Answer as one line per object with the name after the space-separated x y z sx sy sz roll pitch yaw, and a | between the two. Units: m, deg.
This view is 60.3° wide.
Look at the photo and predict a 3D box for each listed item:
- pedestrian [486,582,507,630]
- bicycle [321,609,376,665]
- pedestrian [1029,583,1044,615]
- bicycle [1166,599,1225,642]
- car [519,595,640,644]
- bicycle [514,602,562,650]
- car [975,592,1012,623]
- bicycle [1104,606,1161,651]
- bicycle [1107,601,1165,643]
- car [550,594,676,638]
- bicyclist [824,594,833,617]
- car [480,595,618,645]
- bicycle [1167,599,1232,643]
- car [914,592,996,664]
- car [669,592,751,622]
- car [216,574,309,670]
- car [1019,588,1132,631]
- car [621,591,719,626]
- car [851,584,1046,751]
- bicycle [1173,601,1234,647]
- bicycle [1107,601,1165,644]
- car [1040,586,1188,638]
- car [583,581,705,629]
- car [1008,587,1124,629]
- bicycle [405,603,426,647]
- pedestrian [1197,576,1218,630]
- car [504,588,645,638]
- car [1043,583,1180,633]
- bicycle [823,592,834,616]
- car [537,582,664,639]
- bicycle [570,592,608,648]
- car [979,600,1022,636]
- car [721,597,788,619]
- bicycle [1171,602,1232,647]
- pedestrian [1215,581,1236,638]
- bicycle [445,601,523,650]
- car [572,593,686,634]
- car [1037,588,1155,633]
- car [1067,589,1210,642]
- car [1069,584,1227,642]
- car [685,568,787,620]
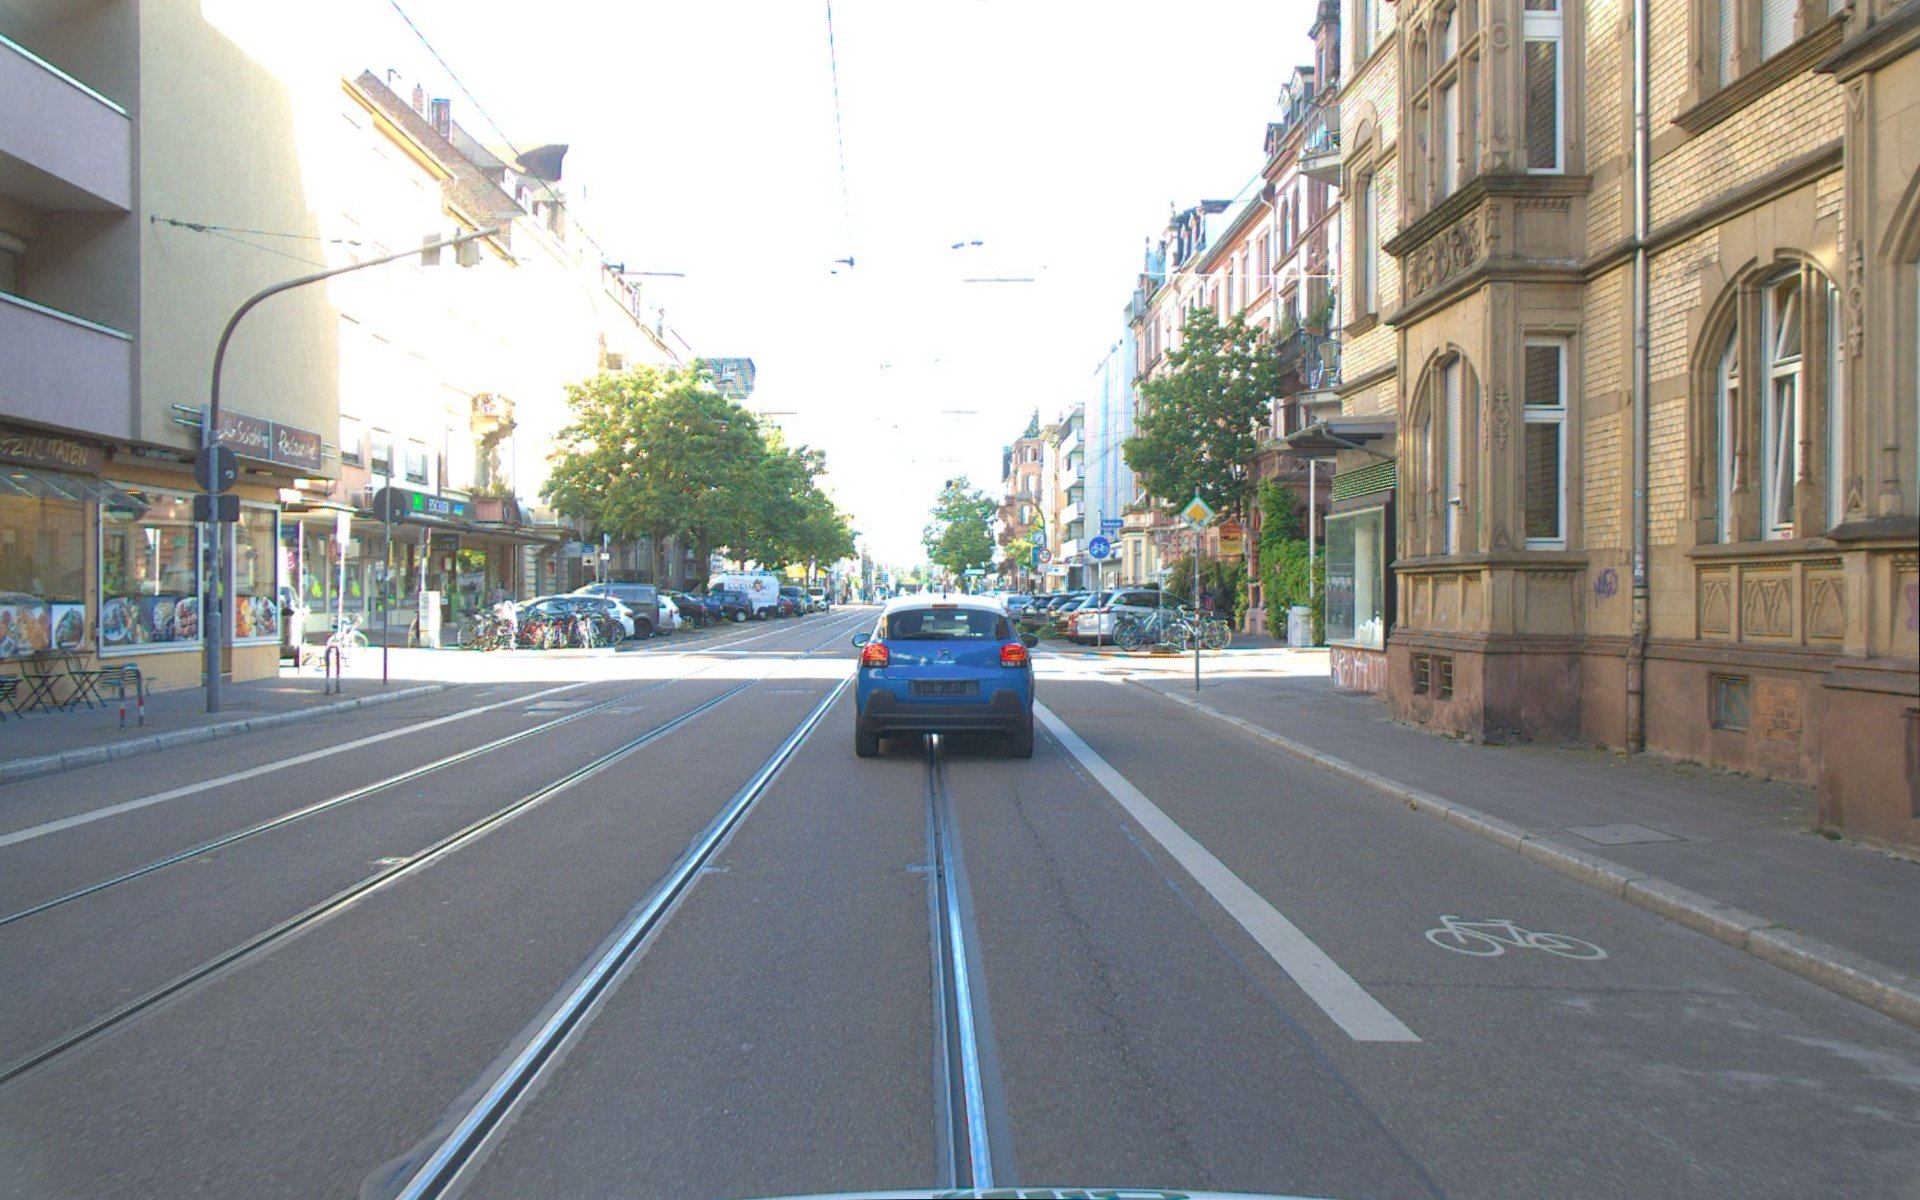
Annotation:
-16.443 0.217 58.711 0.558 1.681 0.641 1 0 -1 | pedestrian
-14.037 0.836 38.002 0.668 1.128 2.432 0 2 -8 | bicycle
4.044 -0.055 87.474 0.697 1.635 0.654 1 0 -2 | pedestrian
6.350 0.554 44.665 1.523 1.147 0.552 1 0 5 | bicycle
-12.030 0.590 52.253 3.424 1.499 1.632 0 1 -31 | car
-11.024 0.656 43.163 0.675 1.143 1.867 -1 3 -32 | bicycle
1.815 0.398 90.306 1.835 1.624 3.999 1 0 -1 | car
4.454 0.732 42.795 1.372 1.147 0.550 1 0 -11 | bicycle
4.740 0.586 44.526 1.523 1.098 0.307 1 0 5 | bicycle
-12.050 0.569 57.442 3.971 1.475 1.679 1 0 -34 | car
-9.560 0.402 120.430 0.621 1.711 0.726 1 0 -1 | bicyclist
-11.456 0.549 46.162 3.432 1.361 1.604 1 0 -36 | car
6.315 0.558 43.659 1.639 1.147 0.552 1 0 5 | bicycle
-0.144 0.642 39.544 1.835 1.624 3.999 1 0 -1 | car
-12.889 0.358 85.284 3.925 1.515 1.797 1 0 -18 | car
-16.237 0.452 38.626 1.818 1.848 4.330 -3 4 -22 | car
4.486 0.384 64.261 3.938 1.624 2.070 1 0 -26 | car
-12.940 0.391 73.791 3.944 1.515 1.788 1 0 -30 | car
-0.148 0.608 16.517 1.727 1.466 3.555 1 0 -2 | car
6.240 0.614 42.443 1.523 1.147 0.552 1 0 5 | bicycle
4.774 0.598 44.880 1.527 1.147 0.295 1 0 5 | bicycle
4.989 0.388 53.713 4.380 1.624 2.071 1 0 -26 | car
-12.511 0.214 65.567 4.314 1.814 1.972 1 0 -34 | car
4.275 0.315 66.683 4.250 1.624 1.966 1 0 -26 | car
-14.156 0.634 42.960 0.397 1.129 1.825 0 0 -22 | bicycle
7.784 0.106 52.011 0.507 1.677 0.863 1 0 -1 | pedestrian
-11.460 0.387 49.228 3.747 1.424 1.734 1 0 -35 | car
5.165 0.275 56.352 4.265 1.624 2.028 1 0 -26 | car
-9.565 0.276 120.475 0.666 1.708 2.096 1 0 -1 | bicycle
-11.890 0.346 54.802 3.769 1.816 1.779 1 0 -30 | car
-9.714 0.509 43.373 0.668 1.342 2.433 0 2 -5 | bicycle
1.888 0.821 78.392 1.835 1.624 4.718 1 0 -1 | car
-12.535 0.469 100.957 3.752 1.287 1.503 1 0 -27 | car
6.278 0.627 43.024 1.523 1.147 0.528 1 0 5 | bicycle
8.384 0.298 52.207 0.507 1.809 0.863 1 0 -1 | pedestrian
-12.268 0.653 42.578 2.390 1.128 0.680 2 3 39 | bicycle
-12.188 0.508 60.871 3.787 1.455 1.750 1 0 -27 | car
5.041 0.382 61.206 3.938 1.624 1.943 1 0 -26 | car
5.445 0.464 50.389 3.938 1.563 1.902 1 0 -26 | car
5.477 0.390 48.189 4.298 1.624 1.838 1 0 -26 | car
-12.313 -0.303 91.193 5.317 2.797 1.787 1 0 -32 | car
